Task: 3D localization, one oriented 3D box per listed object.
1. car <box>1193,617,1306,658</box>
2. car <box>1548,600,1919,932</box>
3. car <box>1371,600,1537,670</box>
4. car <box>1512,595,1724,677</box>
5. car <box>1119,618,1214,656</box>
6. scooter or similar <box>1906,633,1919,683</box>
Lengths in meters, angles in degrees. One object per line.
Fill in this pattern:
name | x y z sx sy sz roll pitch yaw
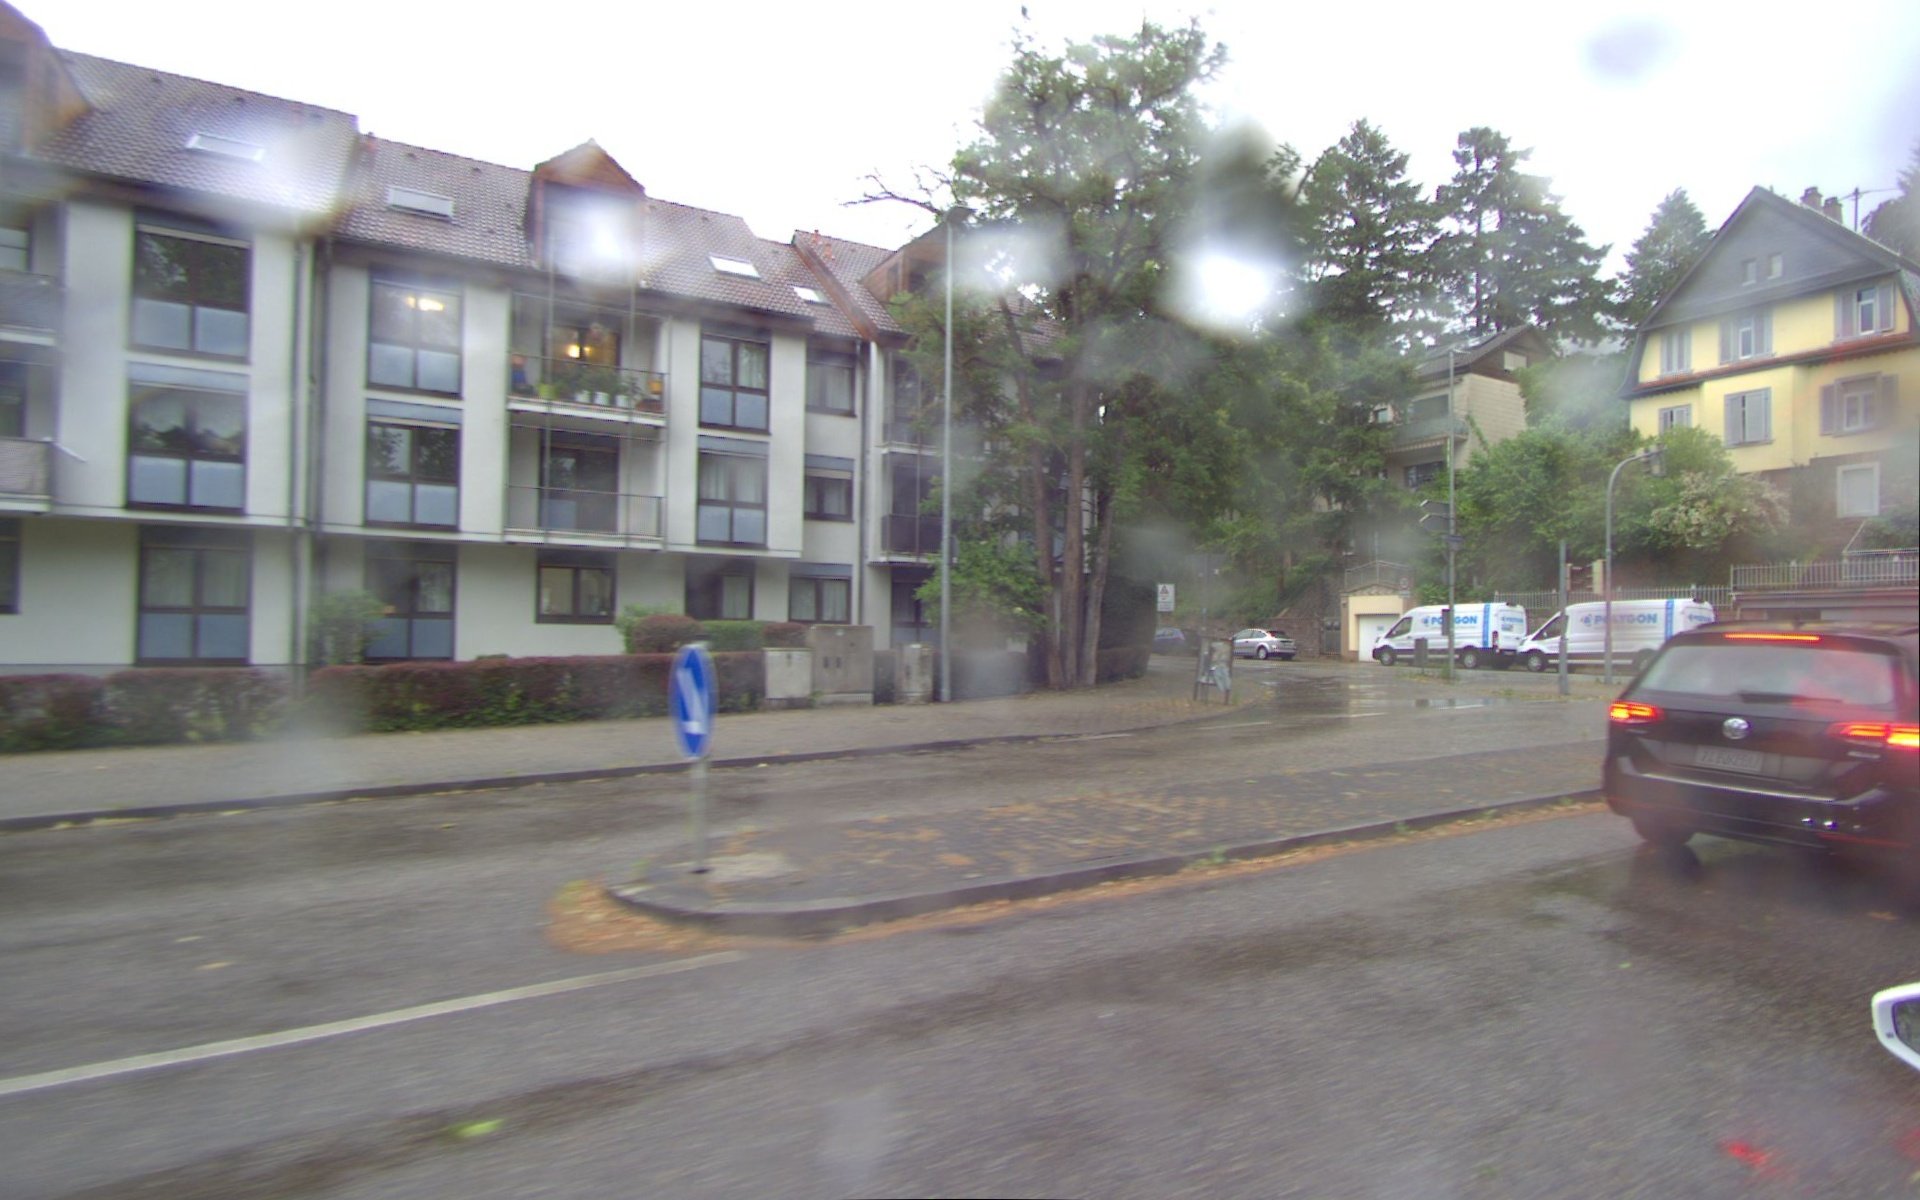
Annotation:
car | 14.103 1.802 49.268 2.084 1.878 5.541 2 -2 -28
car | 6.023 0.768 6.470 4.603 1.476 1.823 0 2 -30
car | 19.238 1.347 39.430 2.287 2.527 5.541 2 -1 -28
car | 22.051 1.181 33.972 2.287 2.527 5.638 2 -1 -28
car | 11.235 1.994 55.168 2.084 1.878 5.541 2 -2 -28
scooter or similar | 26.684 1.594 27.449 1.072 1.352 0.462 0 -3 19
